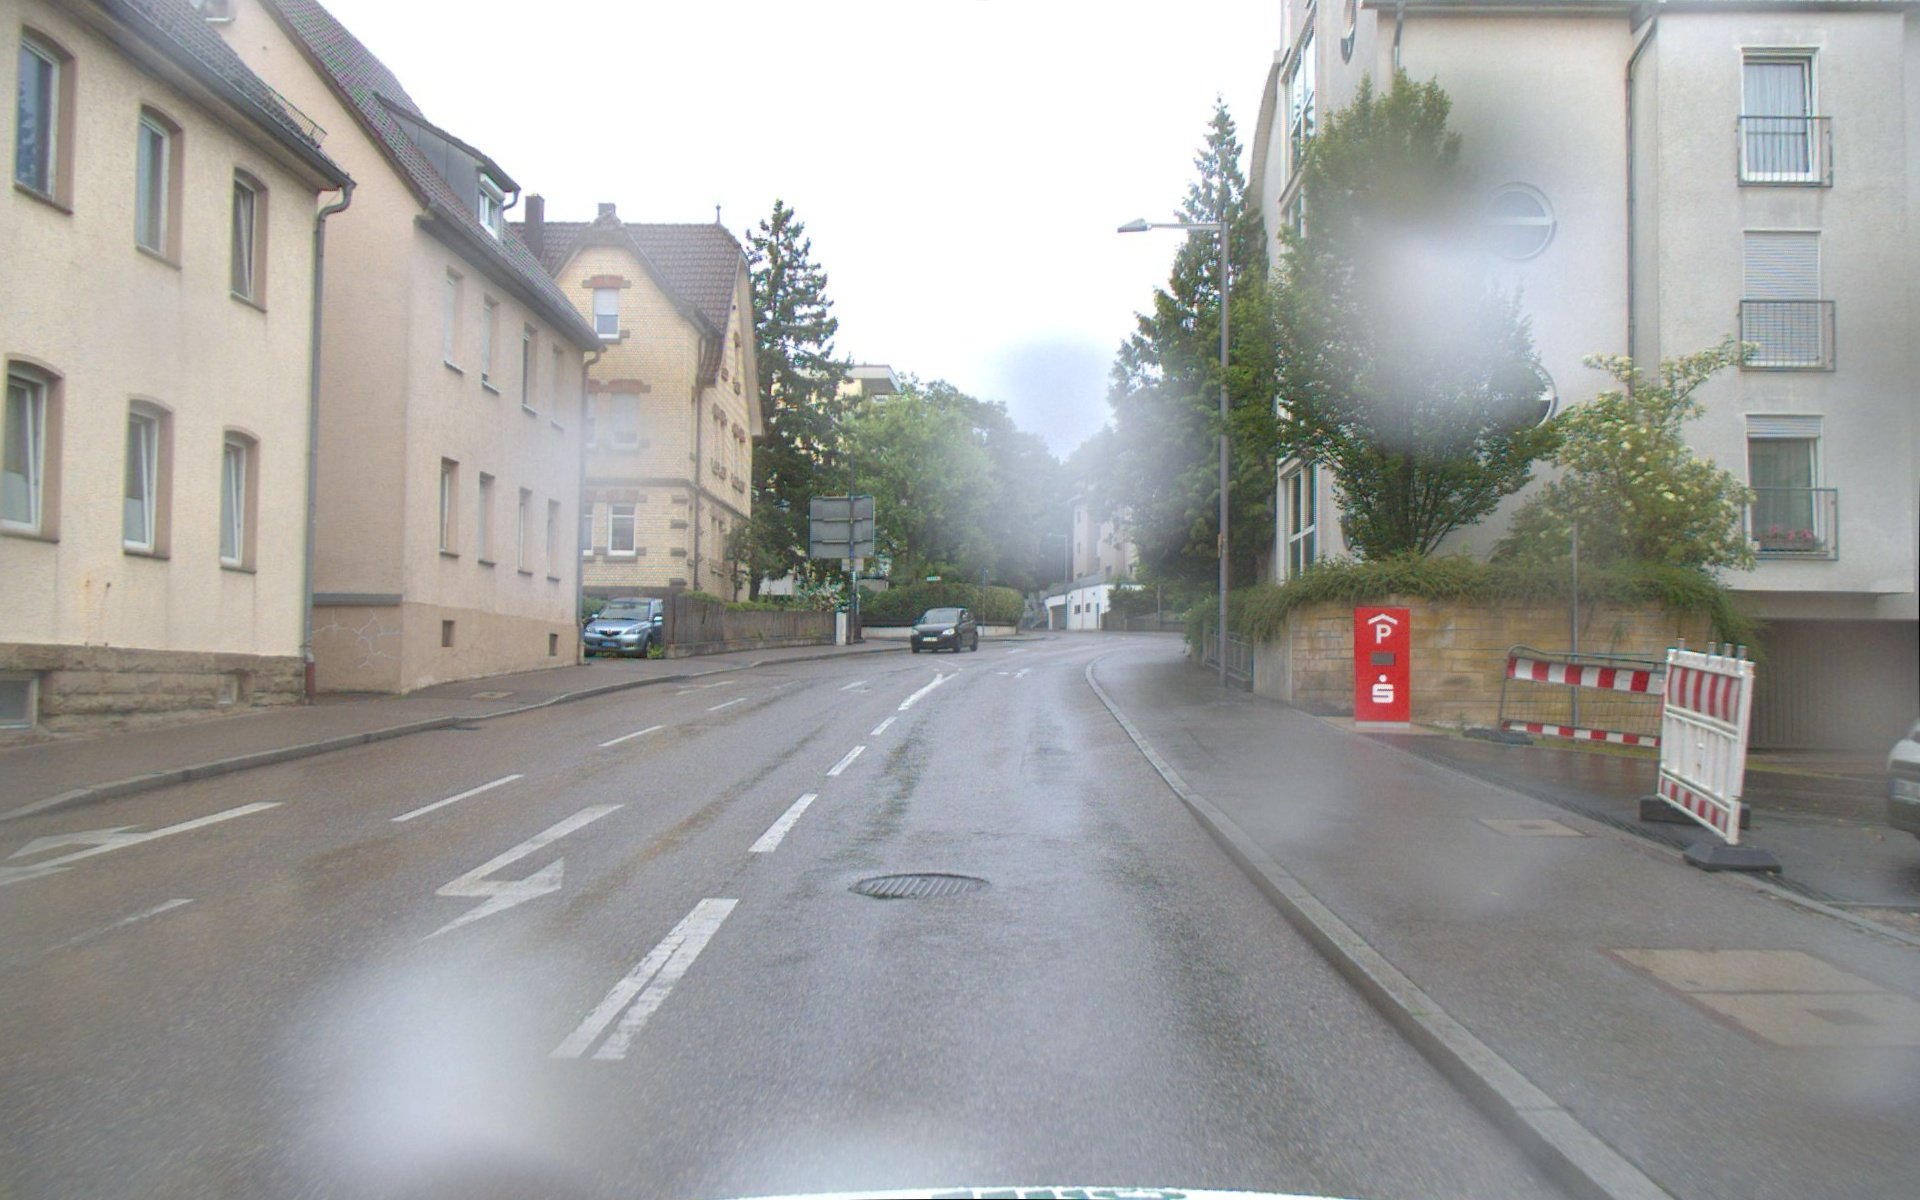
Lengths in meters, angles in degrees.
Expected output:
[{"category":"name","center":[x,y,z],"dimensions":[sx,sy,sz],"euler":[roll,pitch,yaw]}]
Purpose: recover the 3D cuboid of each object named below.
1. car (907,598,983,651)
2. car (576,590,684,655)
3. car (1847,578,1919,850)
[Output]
[{"category":"car","center":[-0.461,0.804,55.235],"dimensions":[1.708,1.599,3.816],"euler":[3,0,11]},{"category":"car","center":[-8.373,0.537,42.333],"dimensions":[1.733,1.529,3.884],"euler":[1,0,4]},{"category":"car","center":[7.201,0.684,9.172],"dimensions":[3.591,1.529,1.777],"euler":[1,0,1]}]
